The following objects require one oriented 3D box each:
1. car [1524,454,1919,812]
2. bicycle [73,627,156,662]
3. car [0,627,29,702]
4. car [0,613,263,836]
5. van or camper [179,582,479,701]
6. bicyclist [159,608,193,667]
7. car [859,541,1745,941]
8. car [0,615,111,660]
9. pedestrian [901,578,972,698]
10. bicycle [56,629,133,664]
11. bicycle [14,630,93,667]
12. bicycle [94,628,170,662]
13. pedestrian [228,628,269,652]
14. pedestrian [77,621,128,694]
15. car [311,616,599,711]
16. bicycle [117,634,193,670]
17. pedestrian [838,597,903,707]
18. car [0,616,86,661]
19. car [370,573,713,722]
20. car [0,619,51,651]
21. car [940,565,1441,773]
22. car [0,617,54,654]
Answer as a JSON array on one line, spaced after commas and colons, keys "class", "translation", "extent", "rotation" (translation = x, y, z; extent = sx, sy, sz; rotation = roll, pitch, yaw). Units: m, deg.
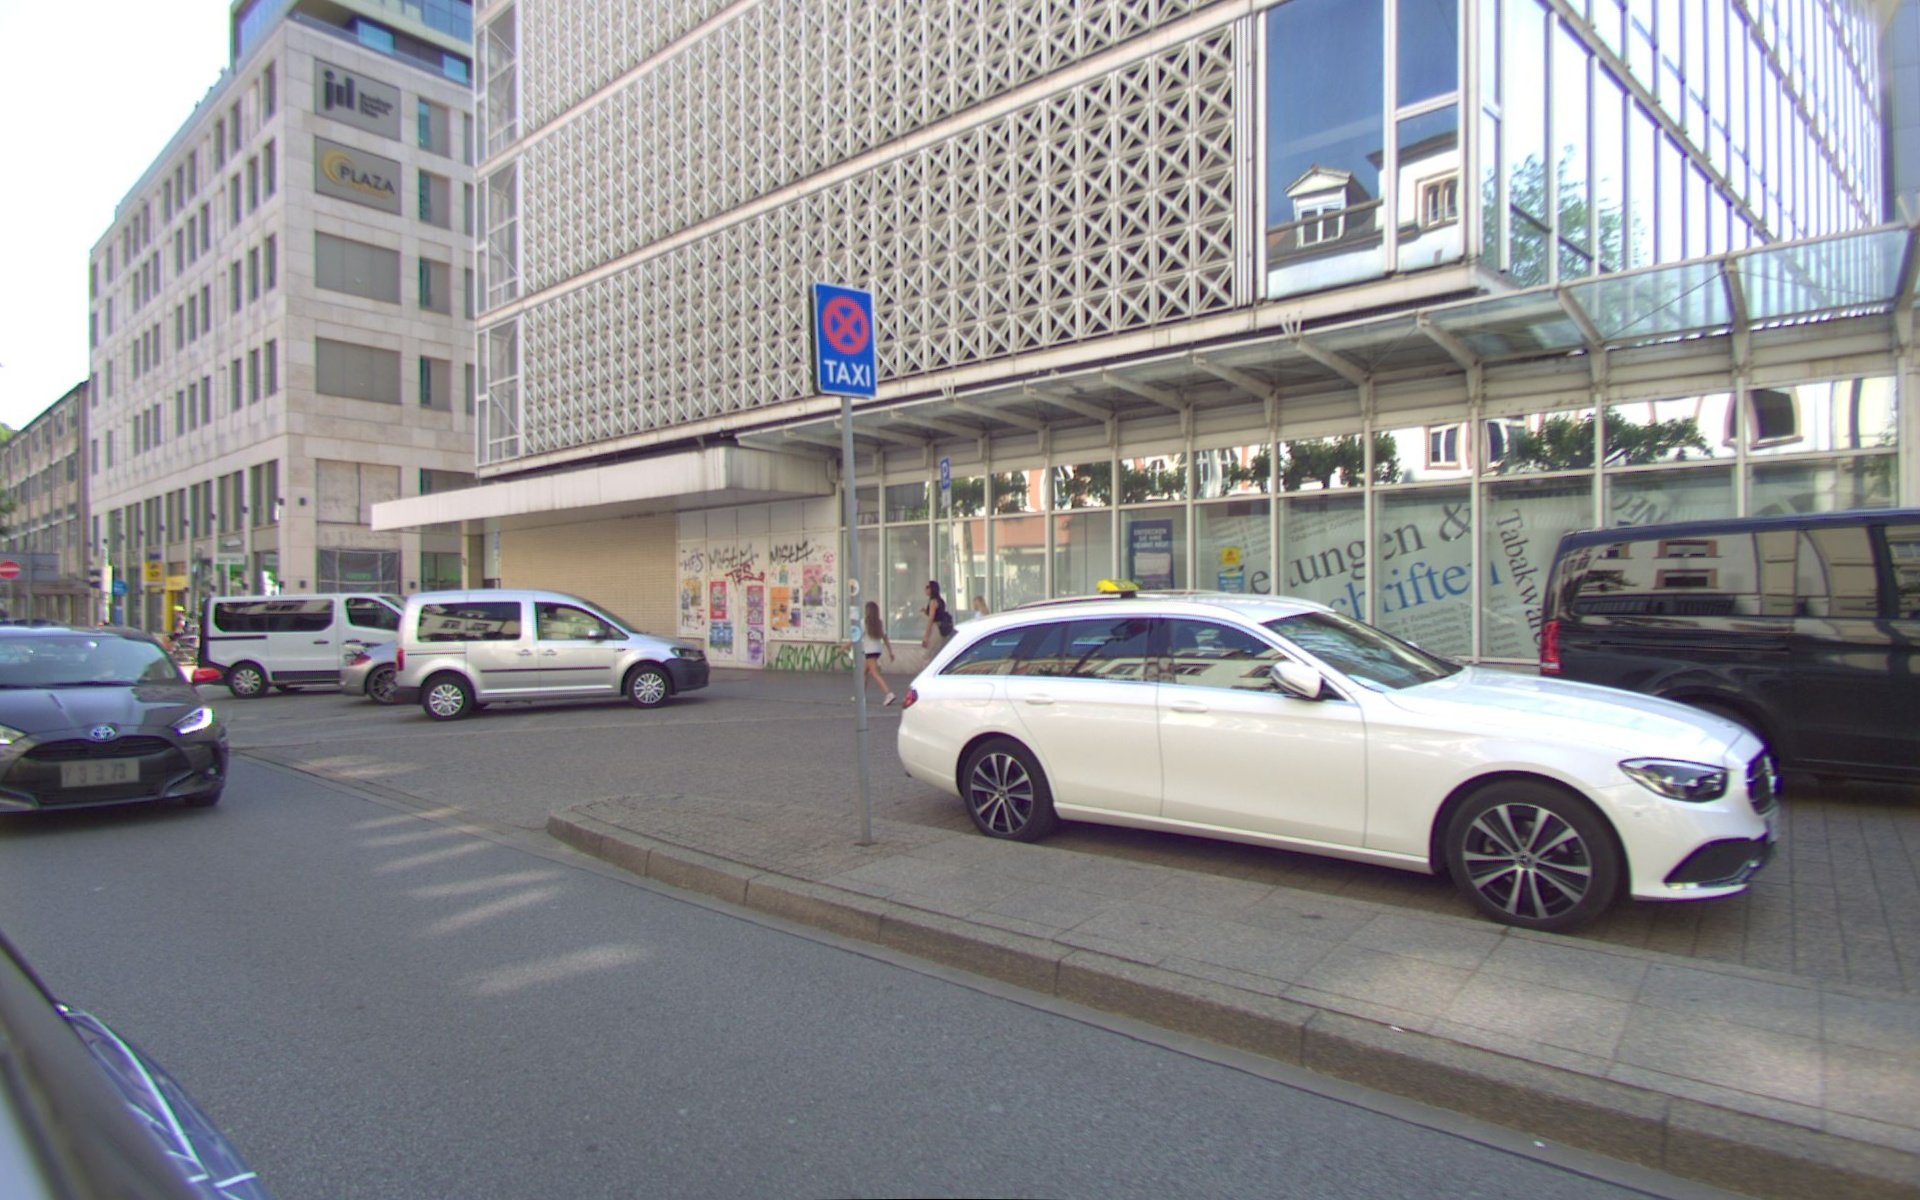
[{"class": "car", "translation": [6.299, 0.177, 6.198], "extent": [4.683, 2.029, 1.813], "rotation": [-1, -1, 41]}, {"class": "bicycle", "translation": [-31.793, 1.665, 38.081], "extent": [2.289, 1.135, 0.564], "rotation": [-3, 1, -25]}, {"class": "car", "translation": [-20.307, 1.270, 20.424], "extent": [4.103, 1.407, 1.712], "rotation": [-1, -1, 40]}, {"class": "car", "translation": [-7.579, 0.923, 8.612], "extent": [4.106, 1.489, 1.843], "rotation": [-3, -3, 43]}, {"class": "van or camper", "translation": [-12.281, 0.758, 20.025], "extent": [4.585, 2.029, 2.004], "rotation": [-2, 0, -10]}, {"class": "bicyclist", "translation": [-26.720, 1.272, 34.480], "extent": [0.832, 1.975, 1.018], "rotation": [0, -1, -43]}, {"class": "car", "translation": [1.681, 0.583, 6.121], "extent": [4.736, 1.534, 1.780], "rotation": [-2, 0, 41]}, {"class": "car", "translation": [-37.684, 1.540, 41.499], "extent": [3.965, 1.614, 1.965], "rotation": [-3, 2, -27]}, {"class": "pedestrian", "translation": [-0.342, 0.539, 14.861], "extent": [0.640, 1.673, 0.780], "rotation": [-1, 2, 38]}, {"class": "bicycle", "translation": [-31.811, 1.700, 37.217], "extent": [2.029, 1.135, 0.564], "rotation": [-3, 0, -25]}, {"class": "bicycle", "translation": [-30.774, 1.657, 34.369], "extent": [2.033, 1.182, 0.606], "rotation": [-1, 0, -4]}, {"class": "bicycle", "translation": [-29.845, 1.619, 36.509], "extent": [2.028, 1.135, 0.649], "rotation": [-1, -1, -23]}, {"class": "pedestrian", "translation": [-29.458, 1.645, 41.905], "extent": [0.840, 0.932, 1.237], "rotation": [-2, -1, 39]}, {"class": "pedestrian", "translation": [-18.972, 1.258, 22.401], "extent": [0.678, 1.571, 0.635], "rotation": [-2, 0, 29]}, {"class": "car", "translation": [-8.606, 1.034, 17.701], "extent": [4.225, 1.296, 1.977], "rotation": [-2, 1, -18]}, {"class": "bicycle", "translation": [-27.205, 1.727, 34.222], "extent": [1.963, 1.135, 0.800], "rotation": [0, -2, -43]}, {"class": "pedestrian", "translation": [-1.234, 0.695, 14.000], "extent": [0.640, 1.447, 0.587], "rotation": [0, 3, 38]}, {"class": "car", "translation": [-40.409, 1.699, 43.548], "extent": [4.108, 1.649, 2.105], "rotation": [-5, 3, -41]}, {"class": "car", "translation": [-5.926, 0.634, 14.917], "extent": [4.372, 1.924, 2.014], "rotation": [-1, -1, -13]}, {"class": "car", "translation": [-50.787, 1.957, 52.946], "extent": [4.425, 1.443, 1.869], "rotation": [-6, 3, -30]}, {"class": "car", "translation": [2.149, 0.547, 9.982], "extent": [4.392, 1.622, 1.976], "rotation": [-1, 0, 37]}, {"class": "car", "translation": [-48.229, 1.865, 50.546], "extent": [3.970, 1.604, 1.825], "rotation": [-5, 3, -17]}]
